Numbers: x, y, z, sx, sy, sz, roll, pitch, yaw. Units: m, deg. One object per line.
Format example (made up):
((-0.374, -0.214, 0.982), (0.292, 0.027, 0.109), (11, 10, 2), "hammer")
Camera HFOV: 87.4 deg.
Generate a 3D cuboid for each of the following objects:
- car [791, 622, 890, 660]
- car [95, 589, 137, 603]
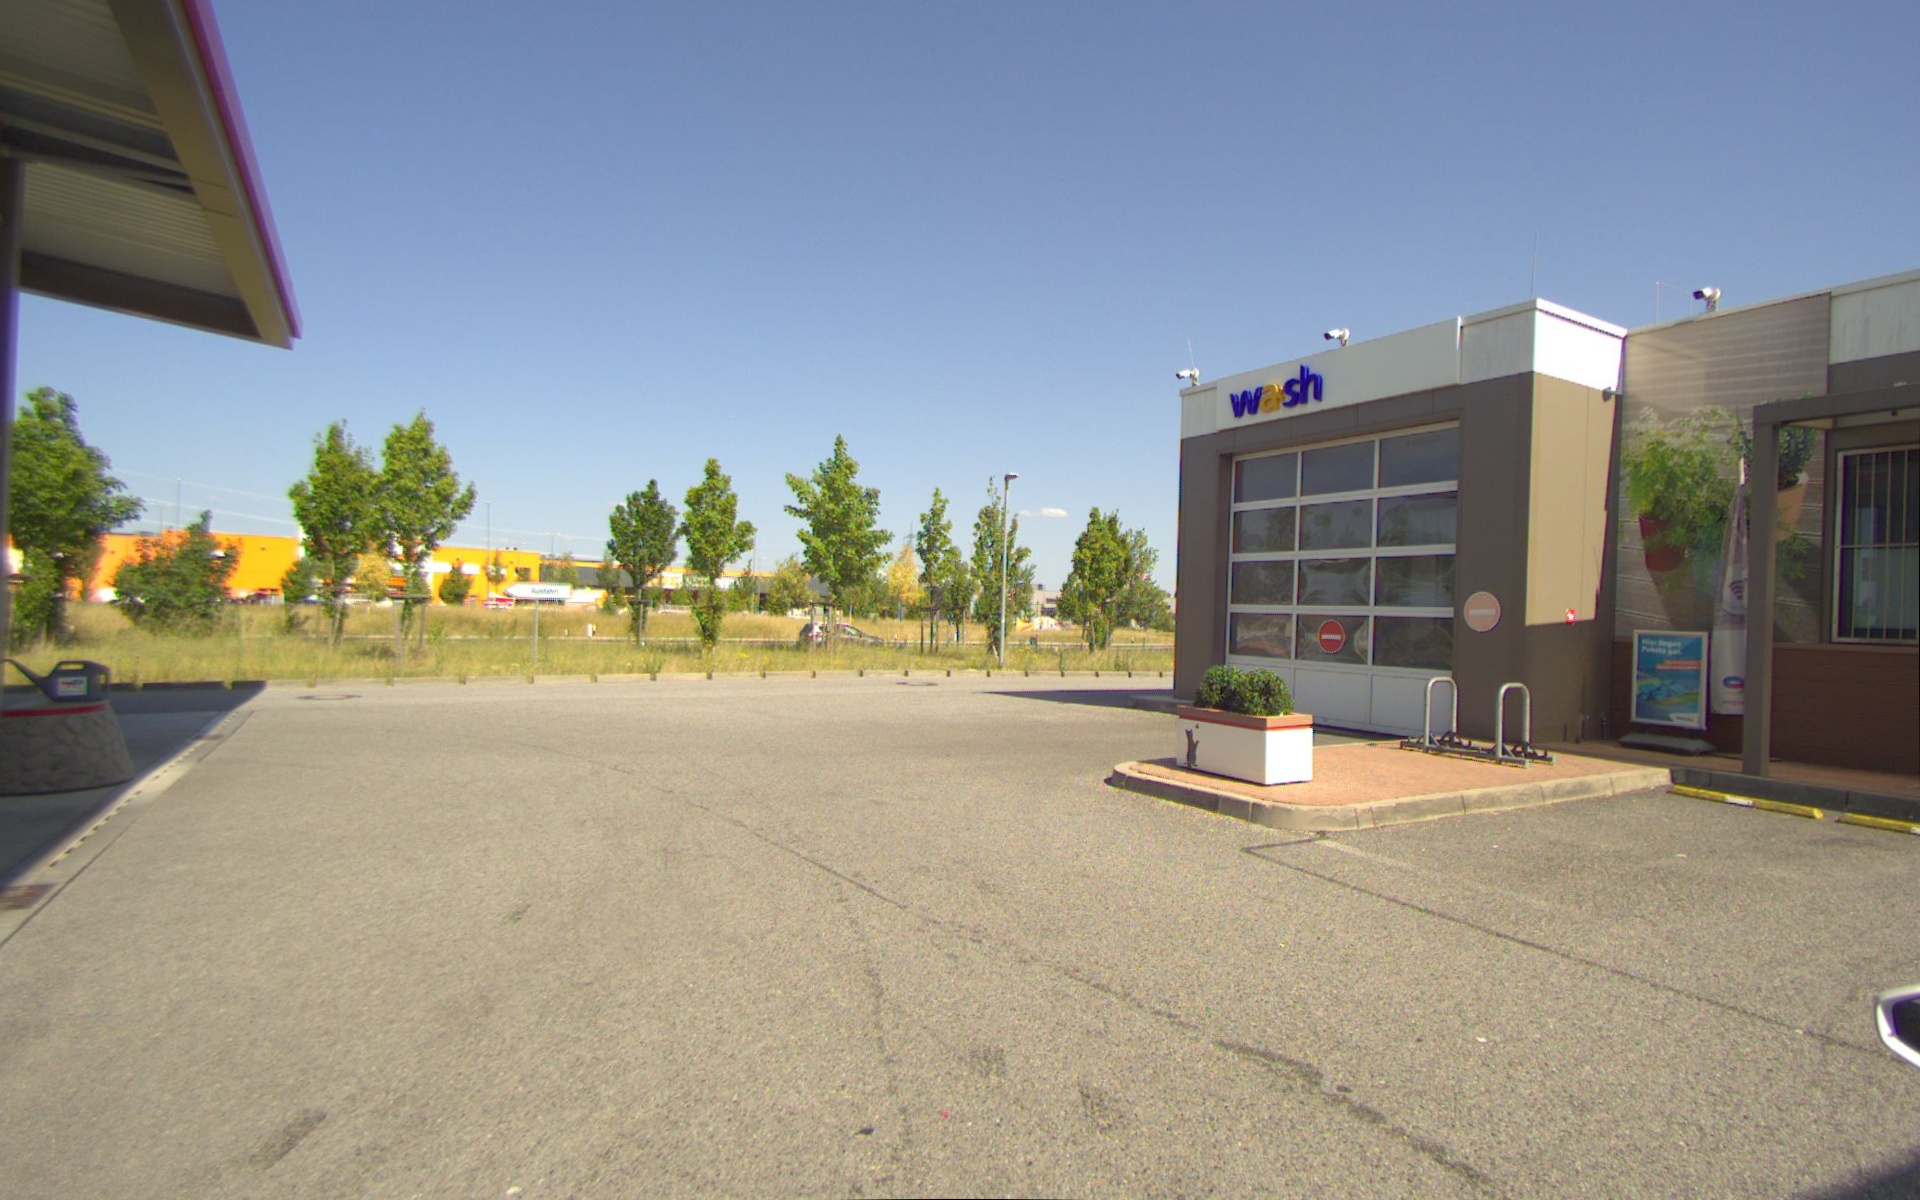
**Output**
((-5.921, 2.028, 49.952), (4.529, 1.774, 1.775), (2, -1, -31), "car")
((-83.254, -0.388, 99.111), (2.910, 1.316, 1.475), (2, -1, -29), "car")
